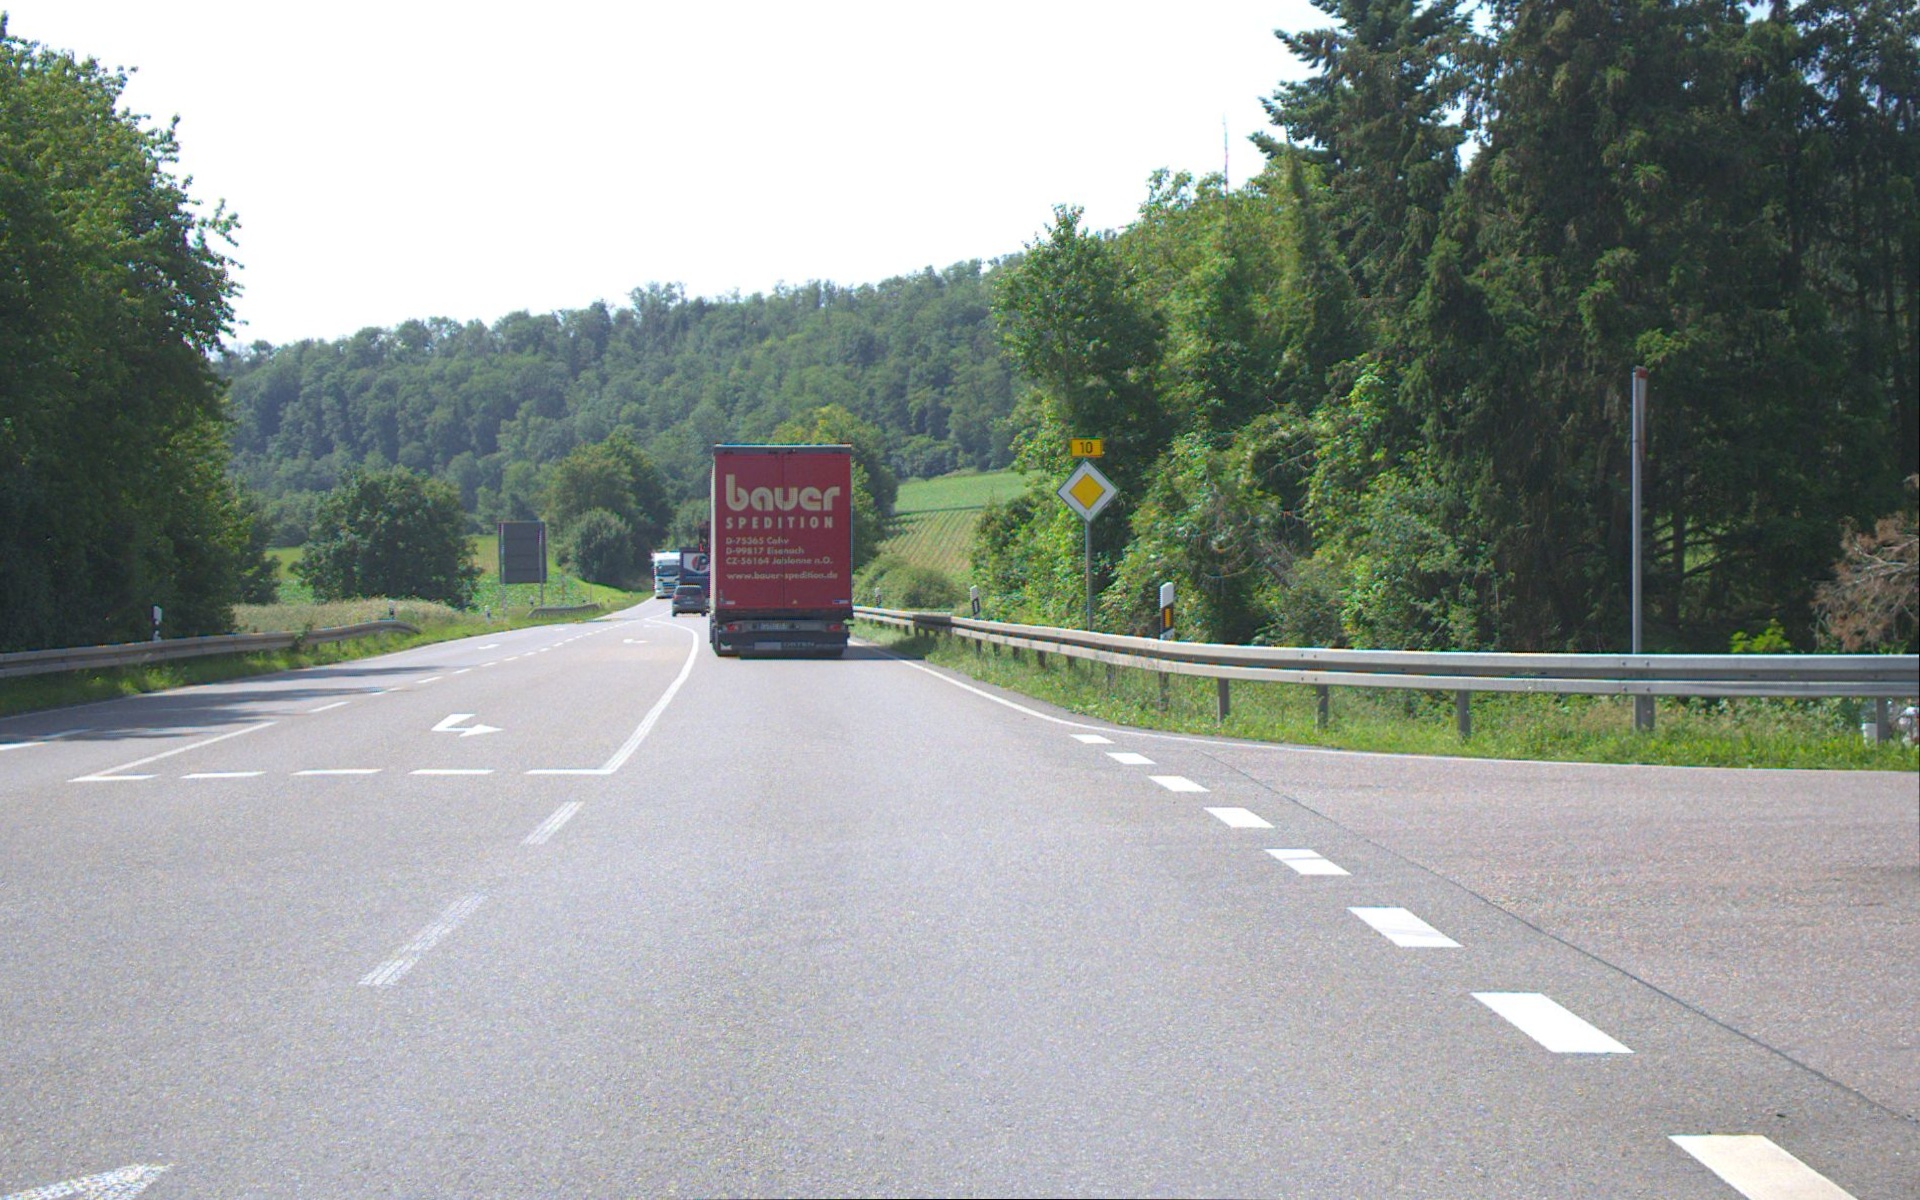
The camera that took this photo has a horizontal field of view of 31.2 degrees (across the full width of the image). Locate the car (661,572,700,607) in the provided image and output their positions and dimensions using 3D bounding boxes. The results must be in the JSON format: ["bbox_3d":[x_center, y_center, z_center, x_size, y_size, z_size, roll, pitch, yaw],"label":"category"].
[{"bbox_3d":[-15.026,-0.569,184.576,1.993,1.804,4.001,2,0,-5],"label":"car"}]

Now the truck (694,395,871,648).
[{"bbox_3d":[-3.692,-1.508,69.625,3.172,4.609,13.545,-1,1,-4],"label":"truck"}]

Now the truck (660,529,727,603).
[{"bbox_3d":[-16.733,-2.071,215.779,3.904,4.355,13.294,2,0,-4],"label":"truck"}]
